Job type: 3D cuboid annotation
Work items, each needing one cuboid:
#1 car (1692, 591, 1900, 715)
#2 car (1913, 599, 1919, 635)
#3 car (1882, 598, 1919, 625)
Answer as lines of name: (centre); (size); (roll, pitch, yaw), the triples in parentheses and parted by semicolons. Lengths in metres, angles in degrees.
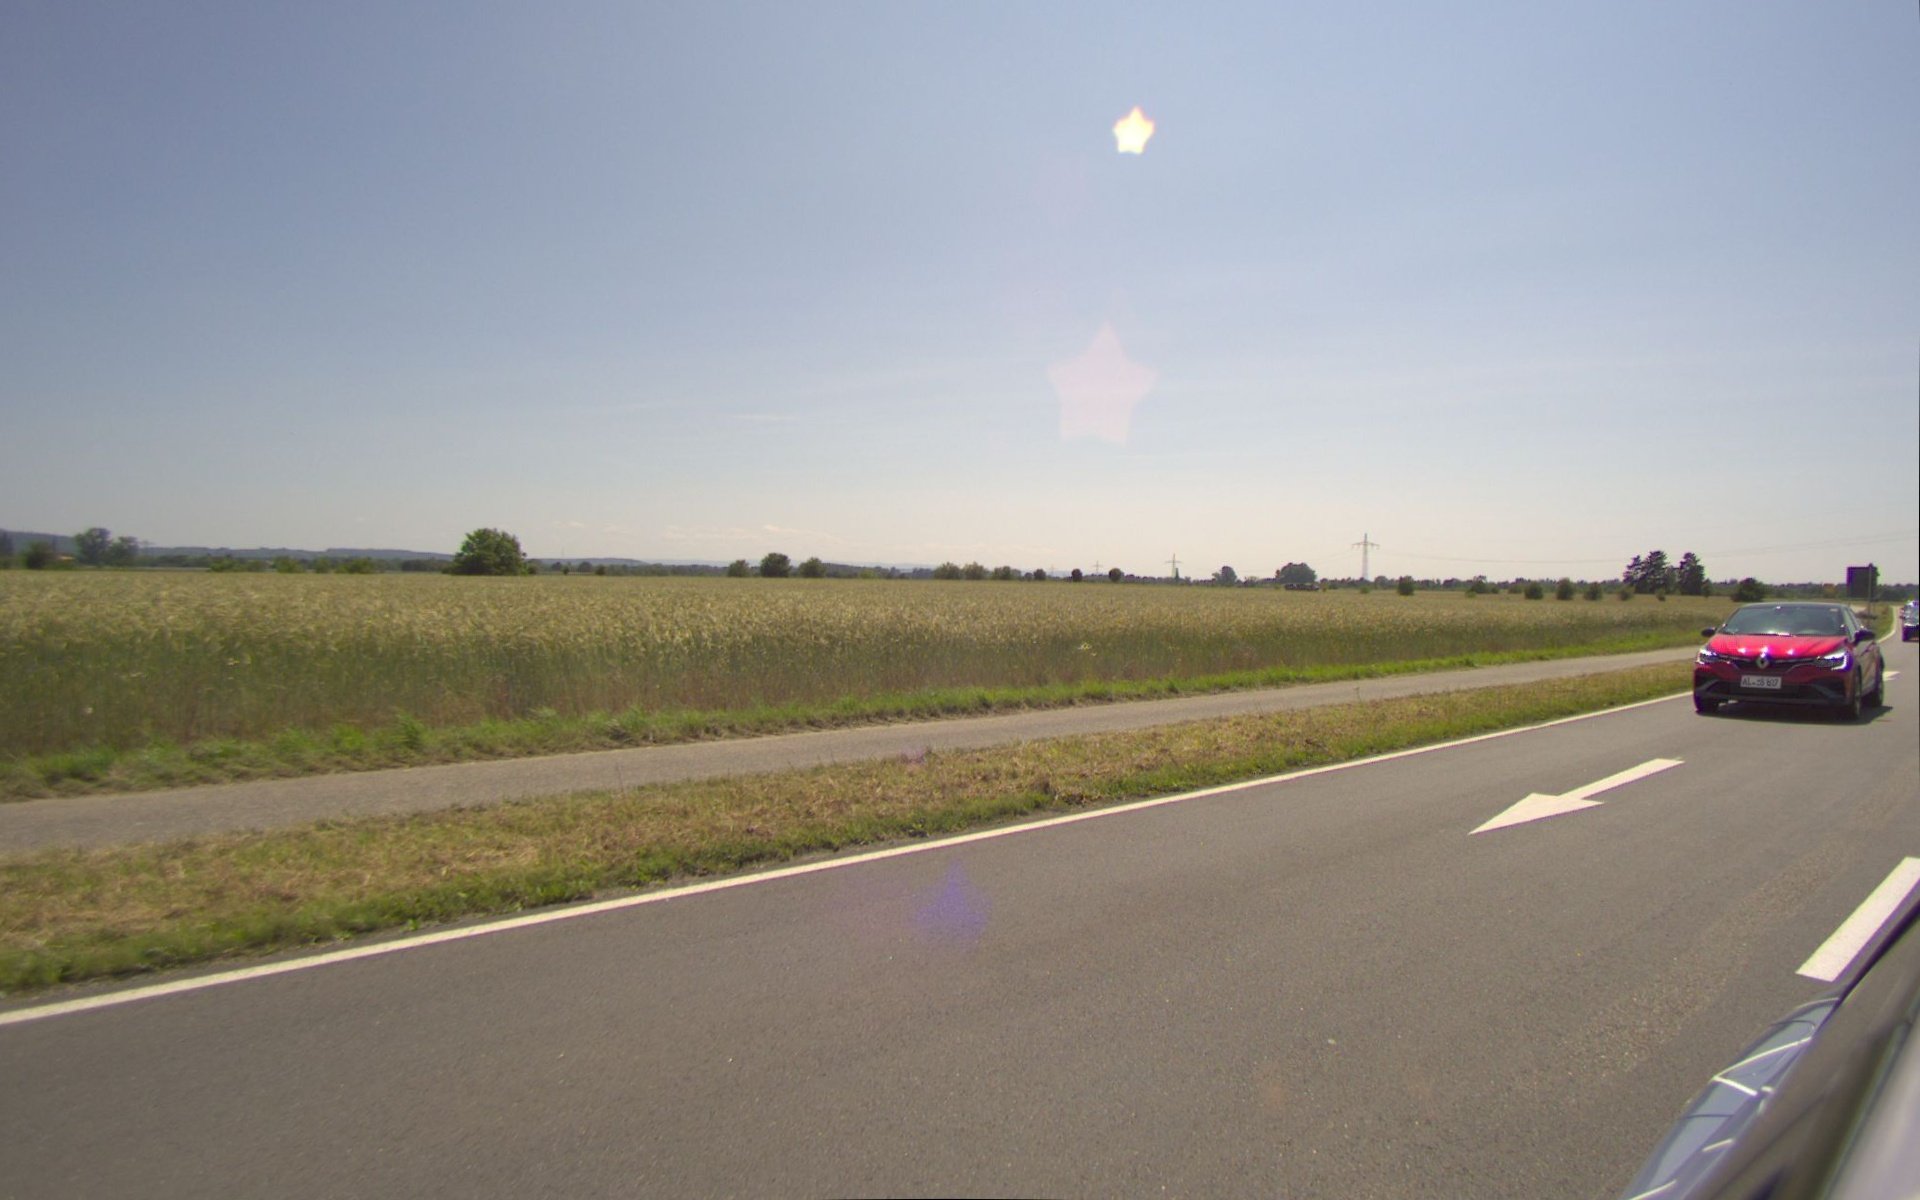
car: (12.486, 0.663, 15.015); (4.374, 1.572, 1.824); (0, 0, -43)
car: (41.457, 0.689, 42.269); (4.931, 1.485, 2.185); (0, 0, -44)
car: (54.951, 0.632, 58.612); (2.182, 1.485, 4.939); (0, 0, 41)
